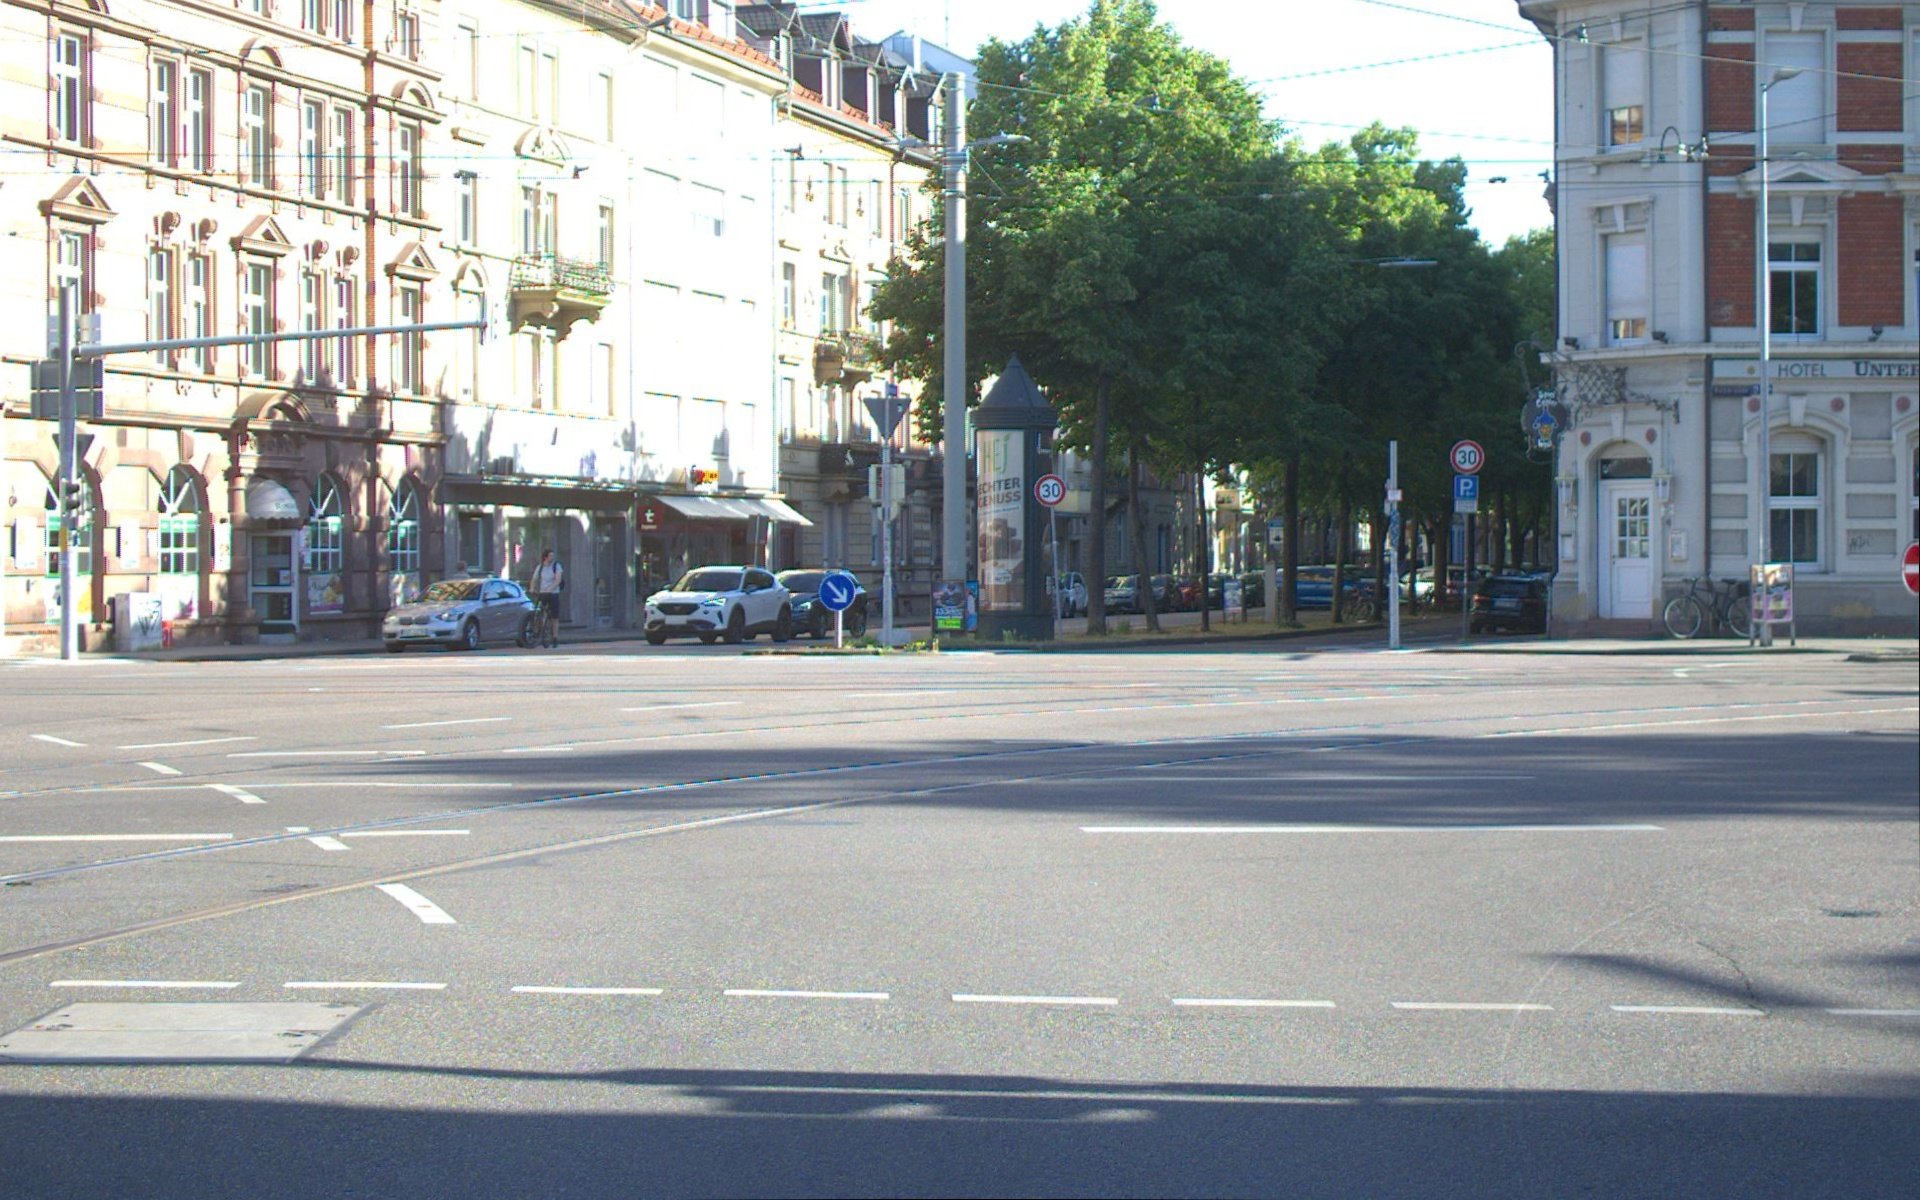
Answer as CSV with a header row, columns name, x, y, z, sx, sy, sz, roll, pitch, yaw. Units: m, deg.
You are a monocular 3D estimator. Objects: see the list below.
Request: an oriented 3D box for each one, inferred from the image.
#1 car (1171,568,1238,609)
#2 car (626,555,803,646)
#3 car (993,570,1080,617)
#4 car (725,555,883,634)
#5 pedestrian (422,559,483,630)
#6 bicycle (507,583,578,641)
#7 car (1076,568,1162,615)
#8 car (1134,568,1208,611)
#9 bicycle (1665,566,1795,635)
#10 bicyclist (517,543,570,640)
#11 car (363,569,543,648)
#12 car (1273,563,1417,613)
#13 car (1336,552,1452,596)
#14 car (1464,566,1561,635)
name,x,y,z,sx,sy,sz,roll,pitch,yaw
car,9.701,-0.469,136.340,1.766,1.544,4.387,0,1,16
car,-4.761,-0.019,67.333,1.995,1.678,4.387,0,1,17
car,2.488,-0.224,110.971,1.995,1.481,3.998,0,1,14
car,-3.315,-0.137,73.846,1.995,1.606,4.387,0,1,17
pedestrian,-11.070,-0.121,75.010,0.929,1.530,1.136,0,1,14
bicycle,-7.885,0.215,65.019,0.680,1.062,2.124,0,1,12
car,5.708,-0.300,122.673,1.995,1.607,4.387,0,1,17
car,8.035,-0.420,130.463,1.839,1.547,4.387,0,1,17
bicycle,12.860,0.007,57.398,2.085,1.120,0.367,1,0,-4
bicyclist,-7.875,-0.165,65.055,0.679,1.814,1.070,0,1,12
car,-9.849,0.147,67.058,1.900,1.450,3.997,0,1,17
car,12.925,-0.412,115.372,4.382,1.606,1.997,0,1,27
car,16.863,-1.015,133.633,3.993,1.700,1.997,0,1,30
car,13.272,-0.014,82.450,1.995,1.579,3.998,0,1,14
